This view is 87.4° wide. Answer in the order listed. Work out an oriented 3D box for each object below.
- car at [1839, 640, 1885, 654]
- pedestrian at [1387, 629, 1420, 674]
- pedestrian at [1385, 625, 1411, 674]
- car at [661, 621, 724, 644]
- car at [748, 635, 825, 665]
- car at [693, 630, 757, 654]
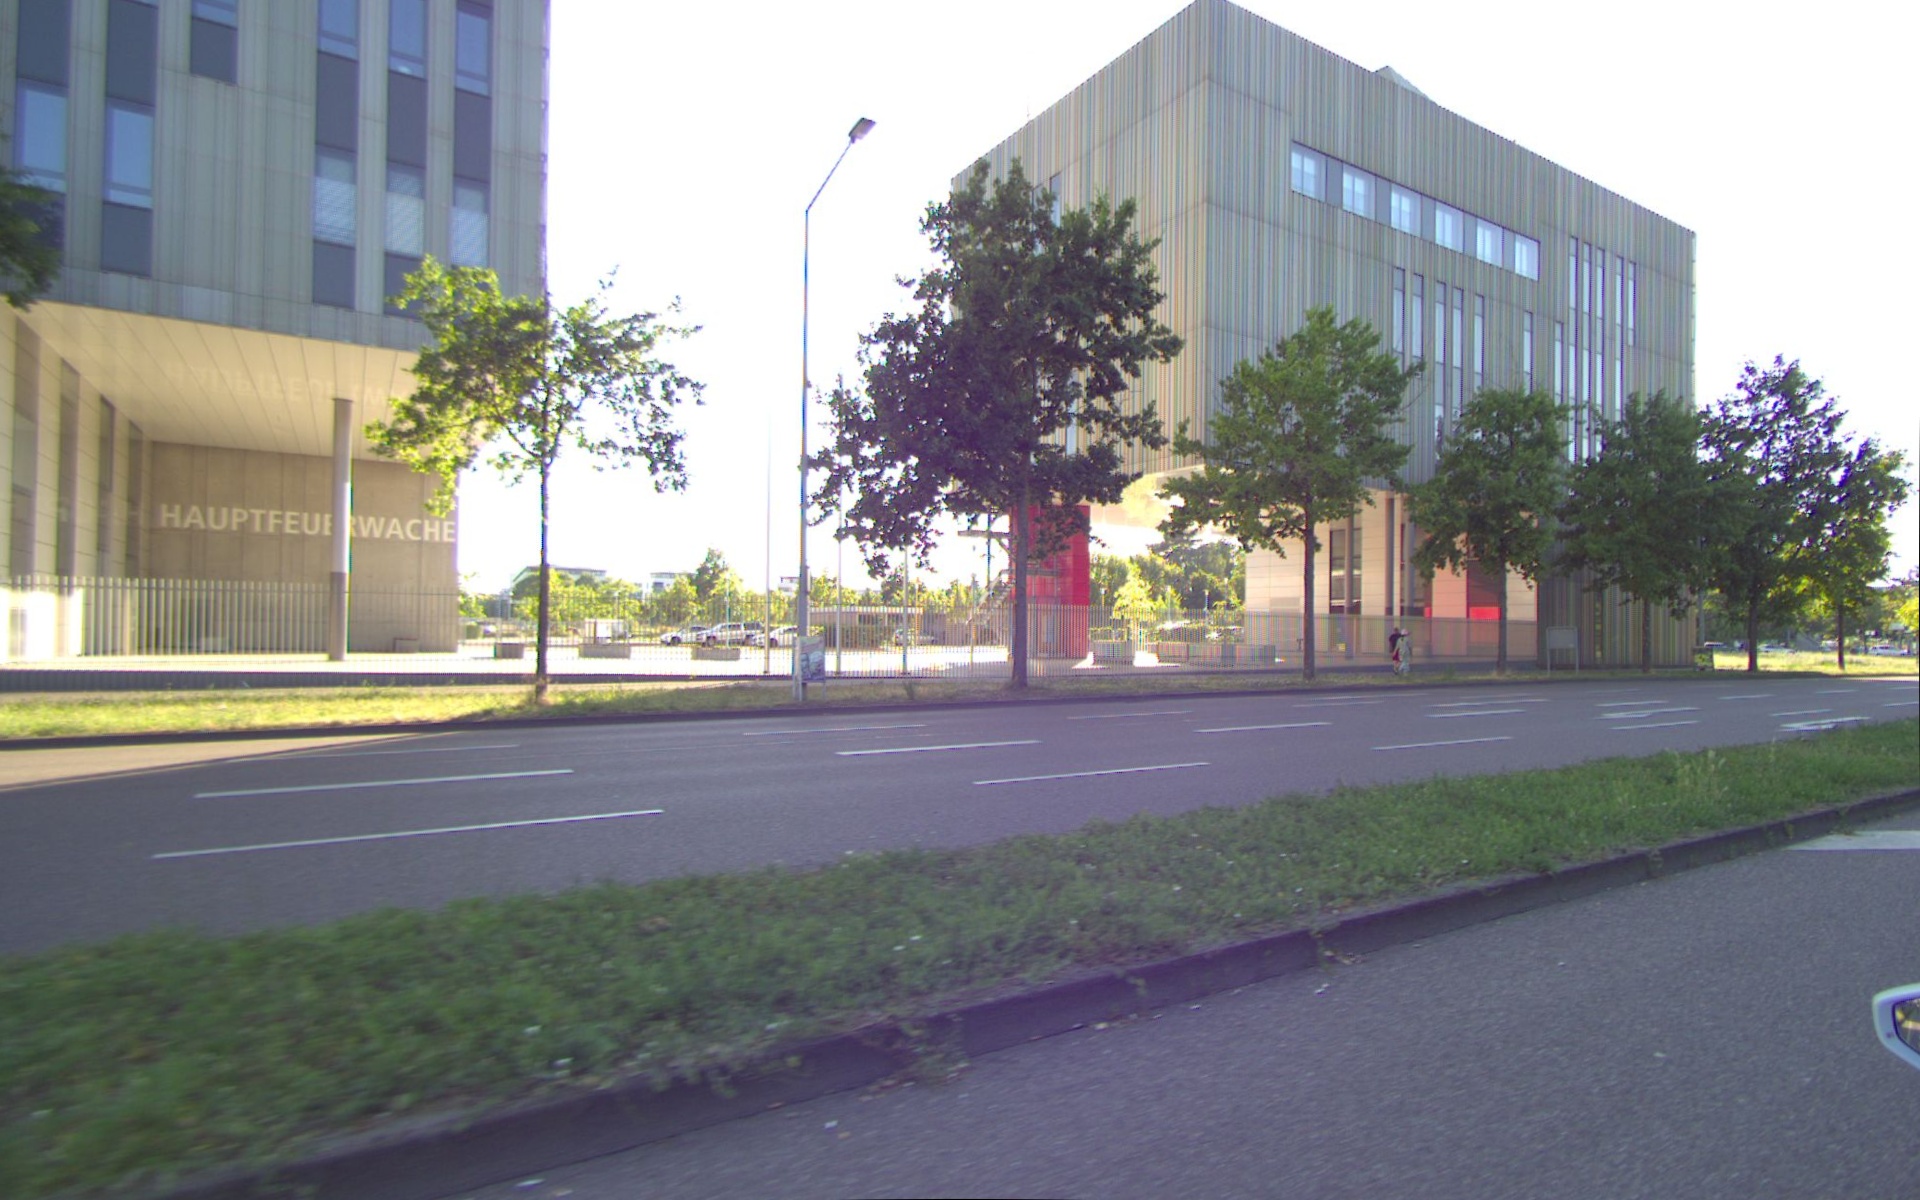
[{"bbox_3d":[109.499,5.703,121.955,3.634,1.528,1.876,0,-2,16],"label":"car"},{"bbox_3d":[16.399,1.886,37.145,0.899,1.622,0.772,1,-1,-31],"label":"pedestrian"},{"bbox_3d":[16.665,1.875,38.233,0.708,1.865,0.629,1,-1,-31],"label":"pedestrian"},{"bbox_3d":[-22.311,2.713,83.822,4.735,1.843,1.894,1,-1,-33],"label":"car"},{"bbox_3d":[-11.574,3.297,67.053,4.735,1.899,1.894,2,-1,-33],"label":"car"},{"bbox_3d":[-18.131,3.223,77.445,4.460,1.773,1.894,2,-1,-33],"label":"car"}]
